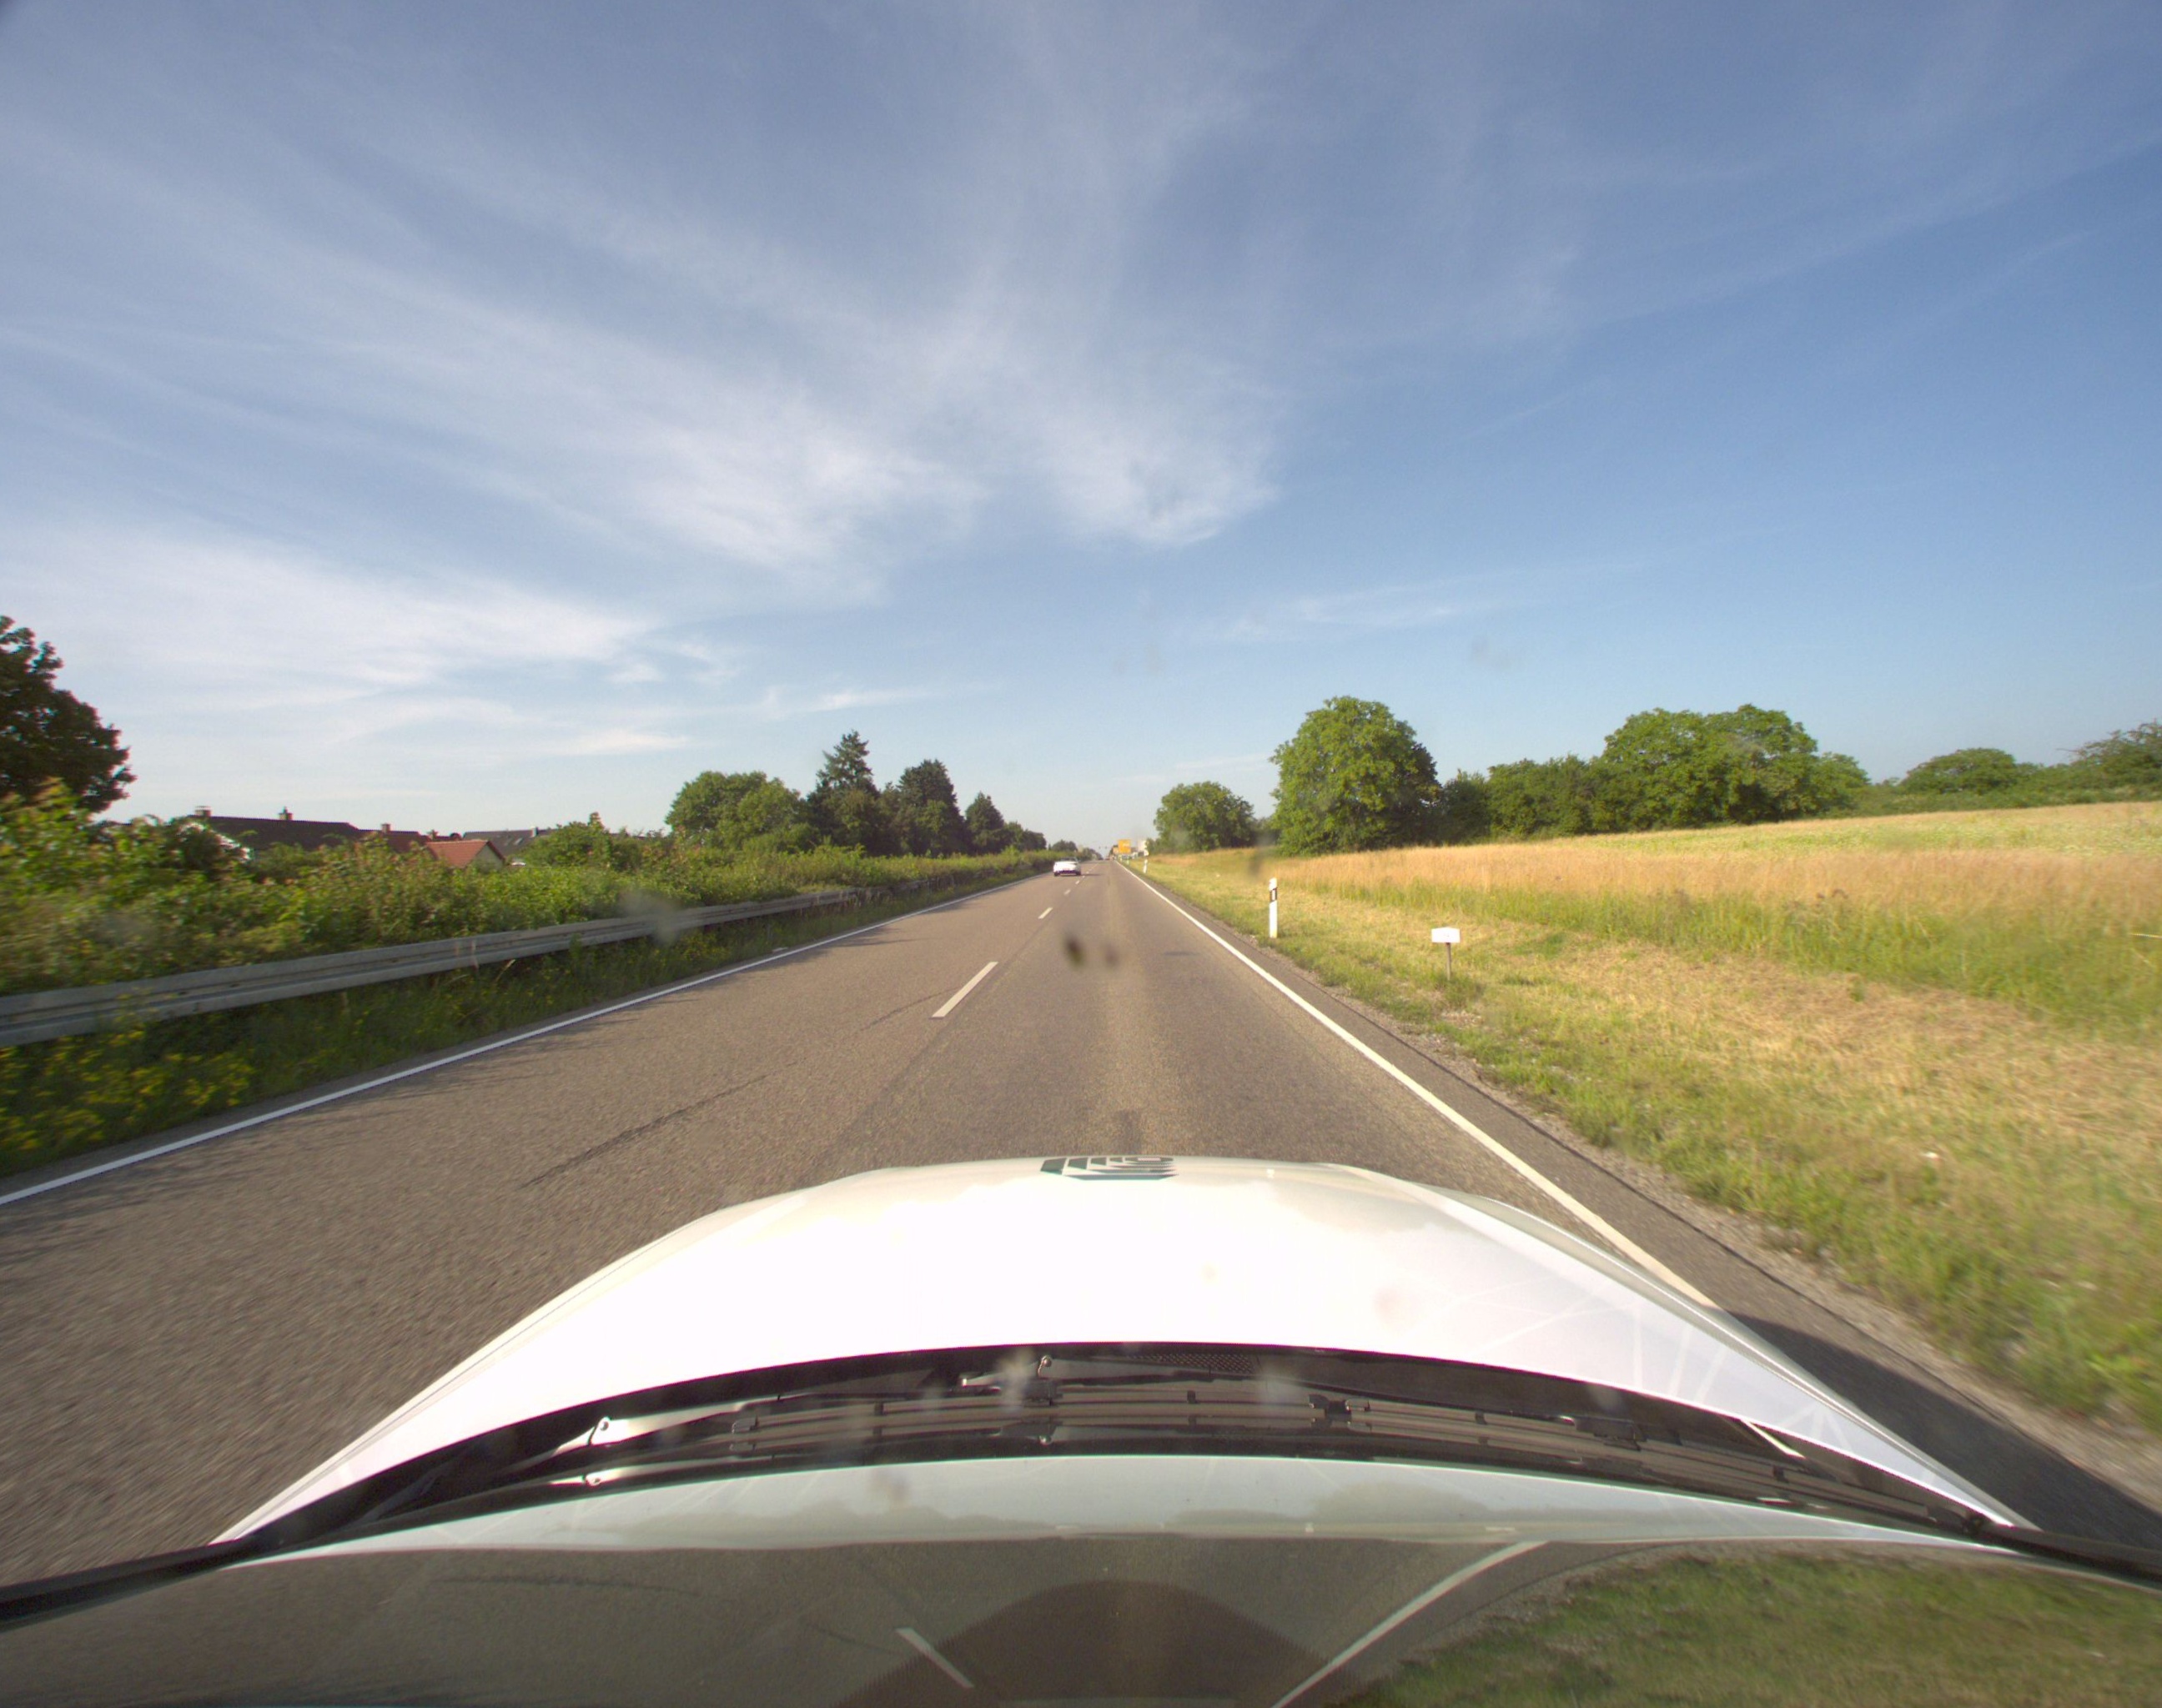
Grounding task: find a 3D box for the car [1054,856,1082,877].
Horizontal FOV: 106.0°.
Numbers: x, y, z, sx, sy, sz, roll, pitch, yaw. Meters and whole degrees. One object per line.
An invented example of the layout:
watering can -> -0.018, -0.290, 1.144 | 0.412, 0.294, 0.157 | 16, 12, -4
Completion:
car -> -0.938, 0.885, 59.950 | 1.903, 1.422, 4.001 | -1, 0, 1
